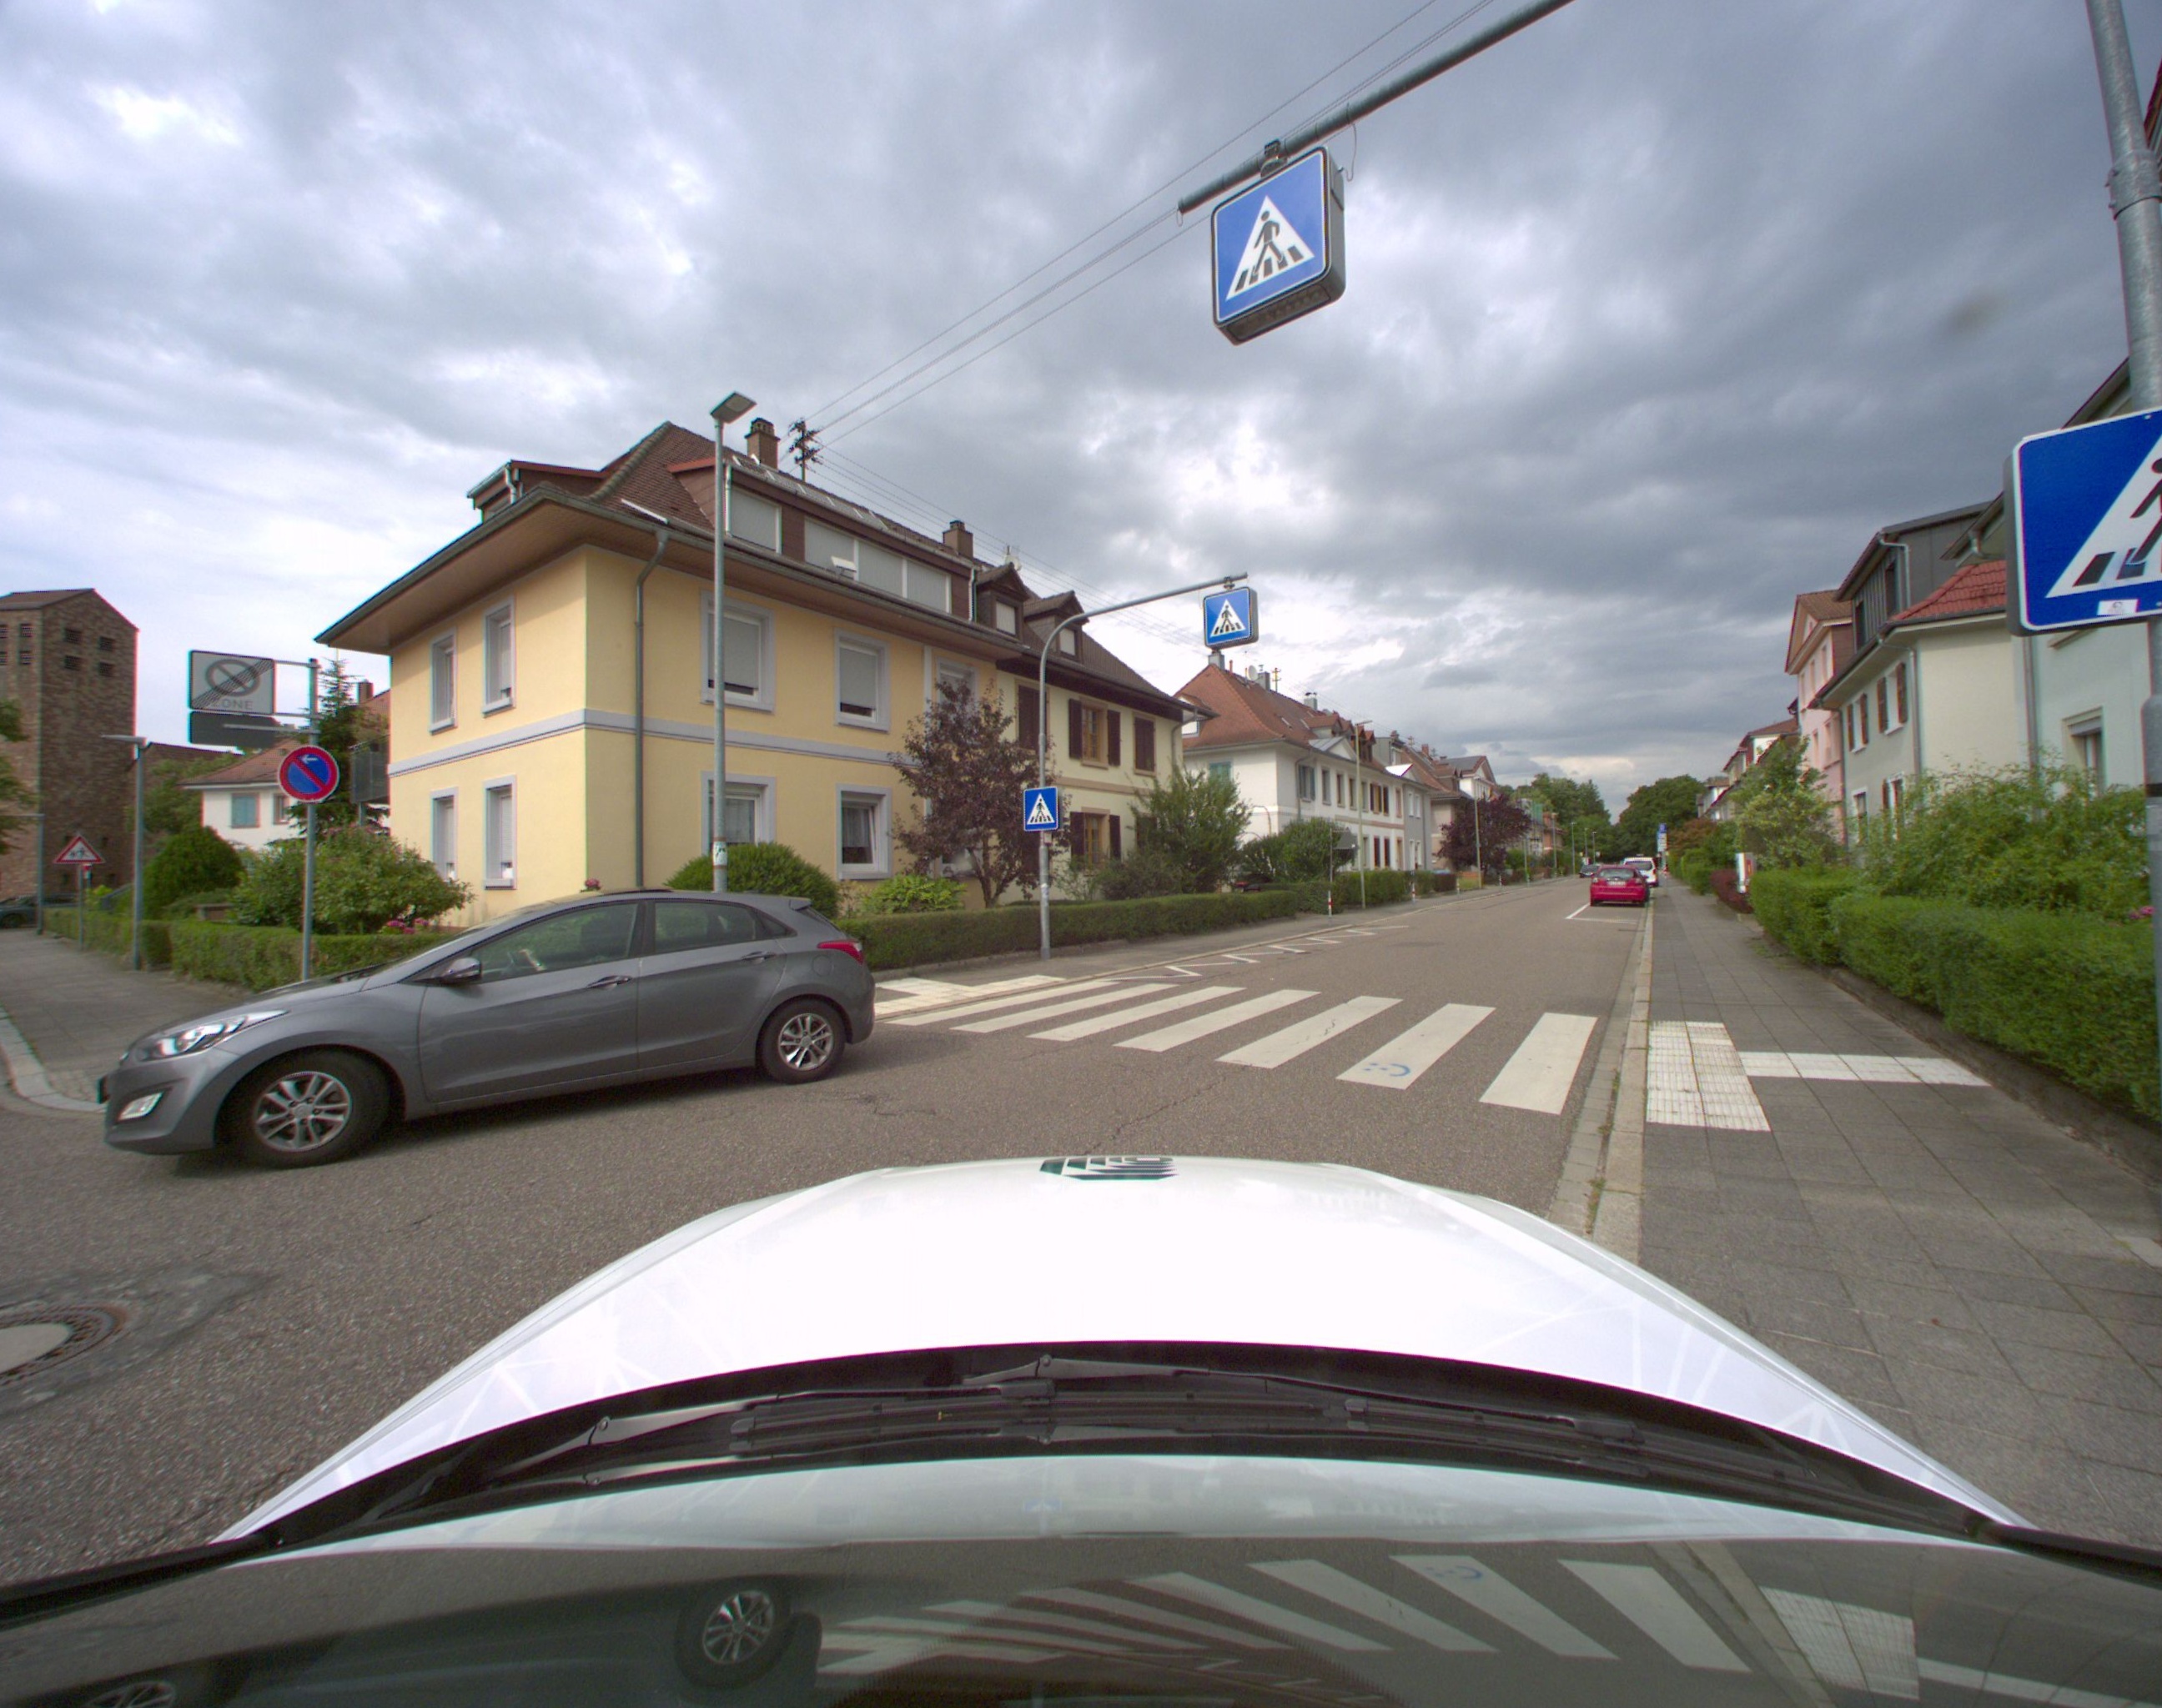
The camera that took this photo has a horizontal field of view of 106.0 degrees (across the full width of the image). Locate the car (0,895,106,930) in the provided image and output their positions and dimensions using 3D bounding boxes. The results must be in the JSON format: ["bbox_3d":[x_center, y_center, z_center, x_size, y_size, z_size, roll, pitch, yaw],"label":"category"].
[{"bbox_3d":[-49.788,2.778,38.739,1.662,1.464,4.254,-1,-1,35],"label":"car"}]

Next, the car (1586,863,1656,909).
[{"bbox_3d":[20.098,1.155,30.257,1.974,1.574,4.025,-2,-2,35],"label":"car"}]

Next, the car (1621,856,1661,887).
[{"bbox_3d":[36.646,1.118,53.254,1.974,1.904,4.025,-2,-2,35],"label":"car"}]

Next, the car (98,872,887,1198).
[{"bbox_3d":[-3.693,0.920,5.891,4.062,1.481,1.833,0,-2,-40],"label":"car"}]

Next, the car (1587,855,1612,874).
[{"bbox_3d":[56.397,1.106,88.578,1.974,2.014,4.025,-2,-2,36],"label":"car"}]

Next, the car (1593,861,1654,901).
[{"bbox_3d":[23.067,1.113,34.576,1.974,1.574,4.025,-2,-2,35],"label":"car"}]
